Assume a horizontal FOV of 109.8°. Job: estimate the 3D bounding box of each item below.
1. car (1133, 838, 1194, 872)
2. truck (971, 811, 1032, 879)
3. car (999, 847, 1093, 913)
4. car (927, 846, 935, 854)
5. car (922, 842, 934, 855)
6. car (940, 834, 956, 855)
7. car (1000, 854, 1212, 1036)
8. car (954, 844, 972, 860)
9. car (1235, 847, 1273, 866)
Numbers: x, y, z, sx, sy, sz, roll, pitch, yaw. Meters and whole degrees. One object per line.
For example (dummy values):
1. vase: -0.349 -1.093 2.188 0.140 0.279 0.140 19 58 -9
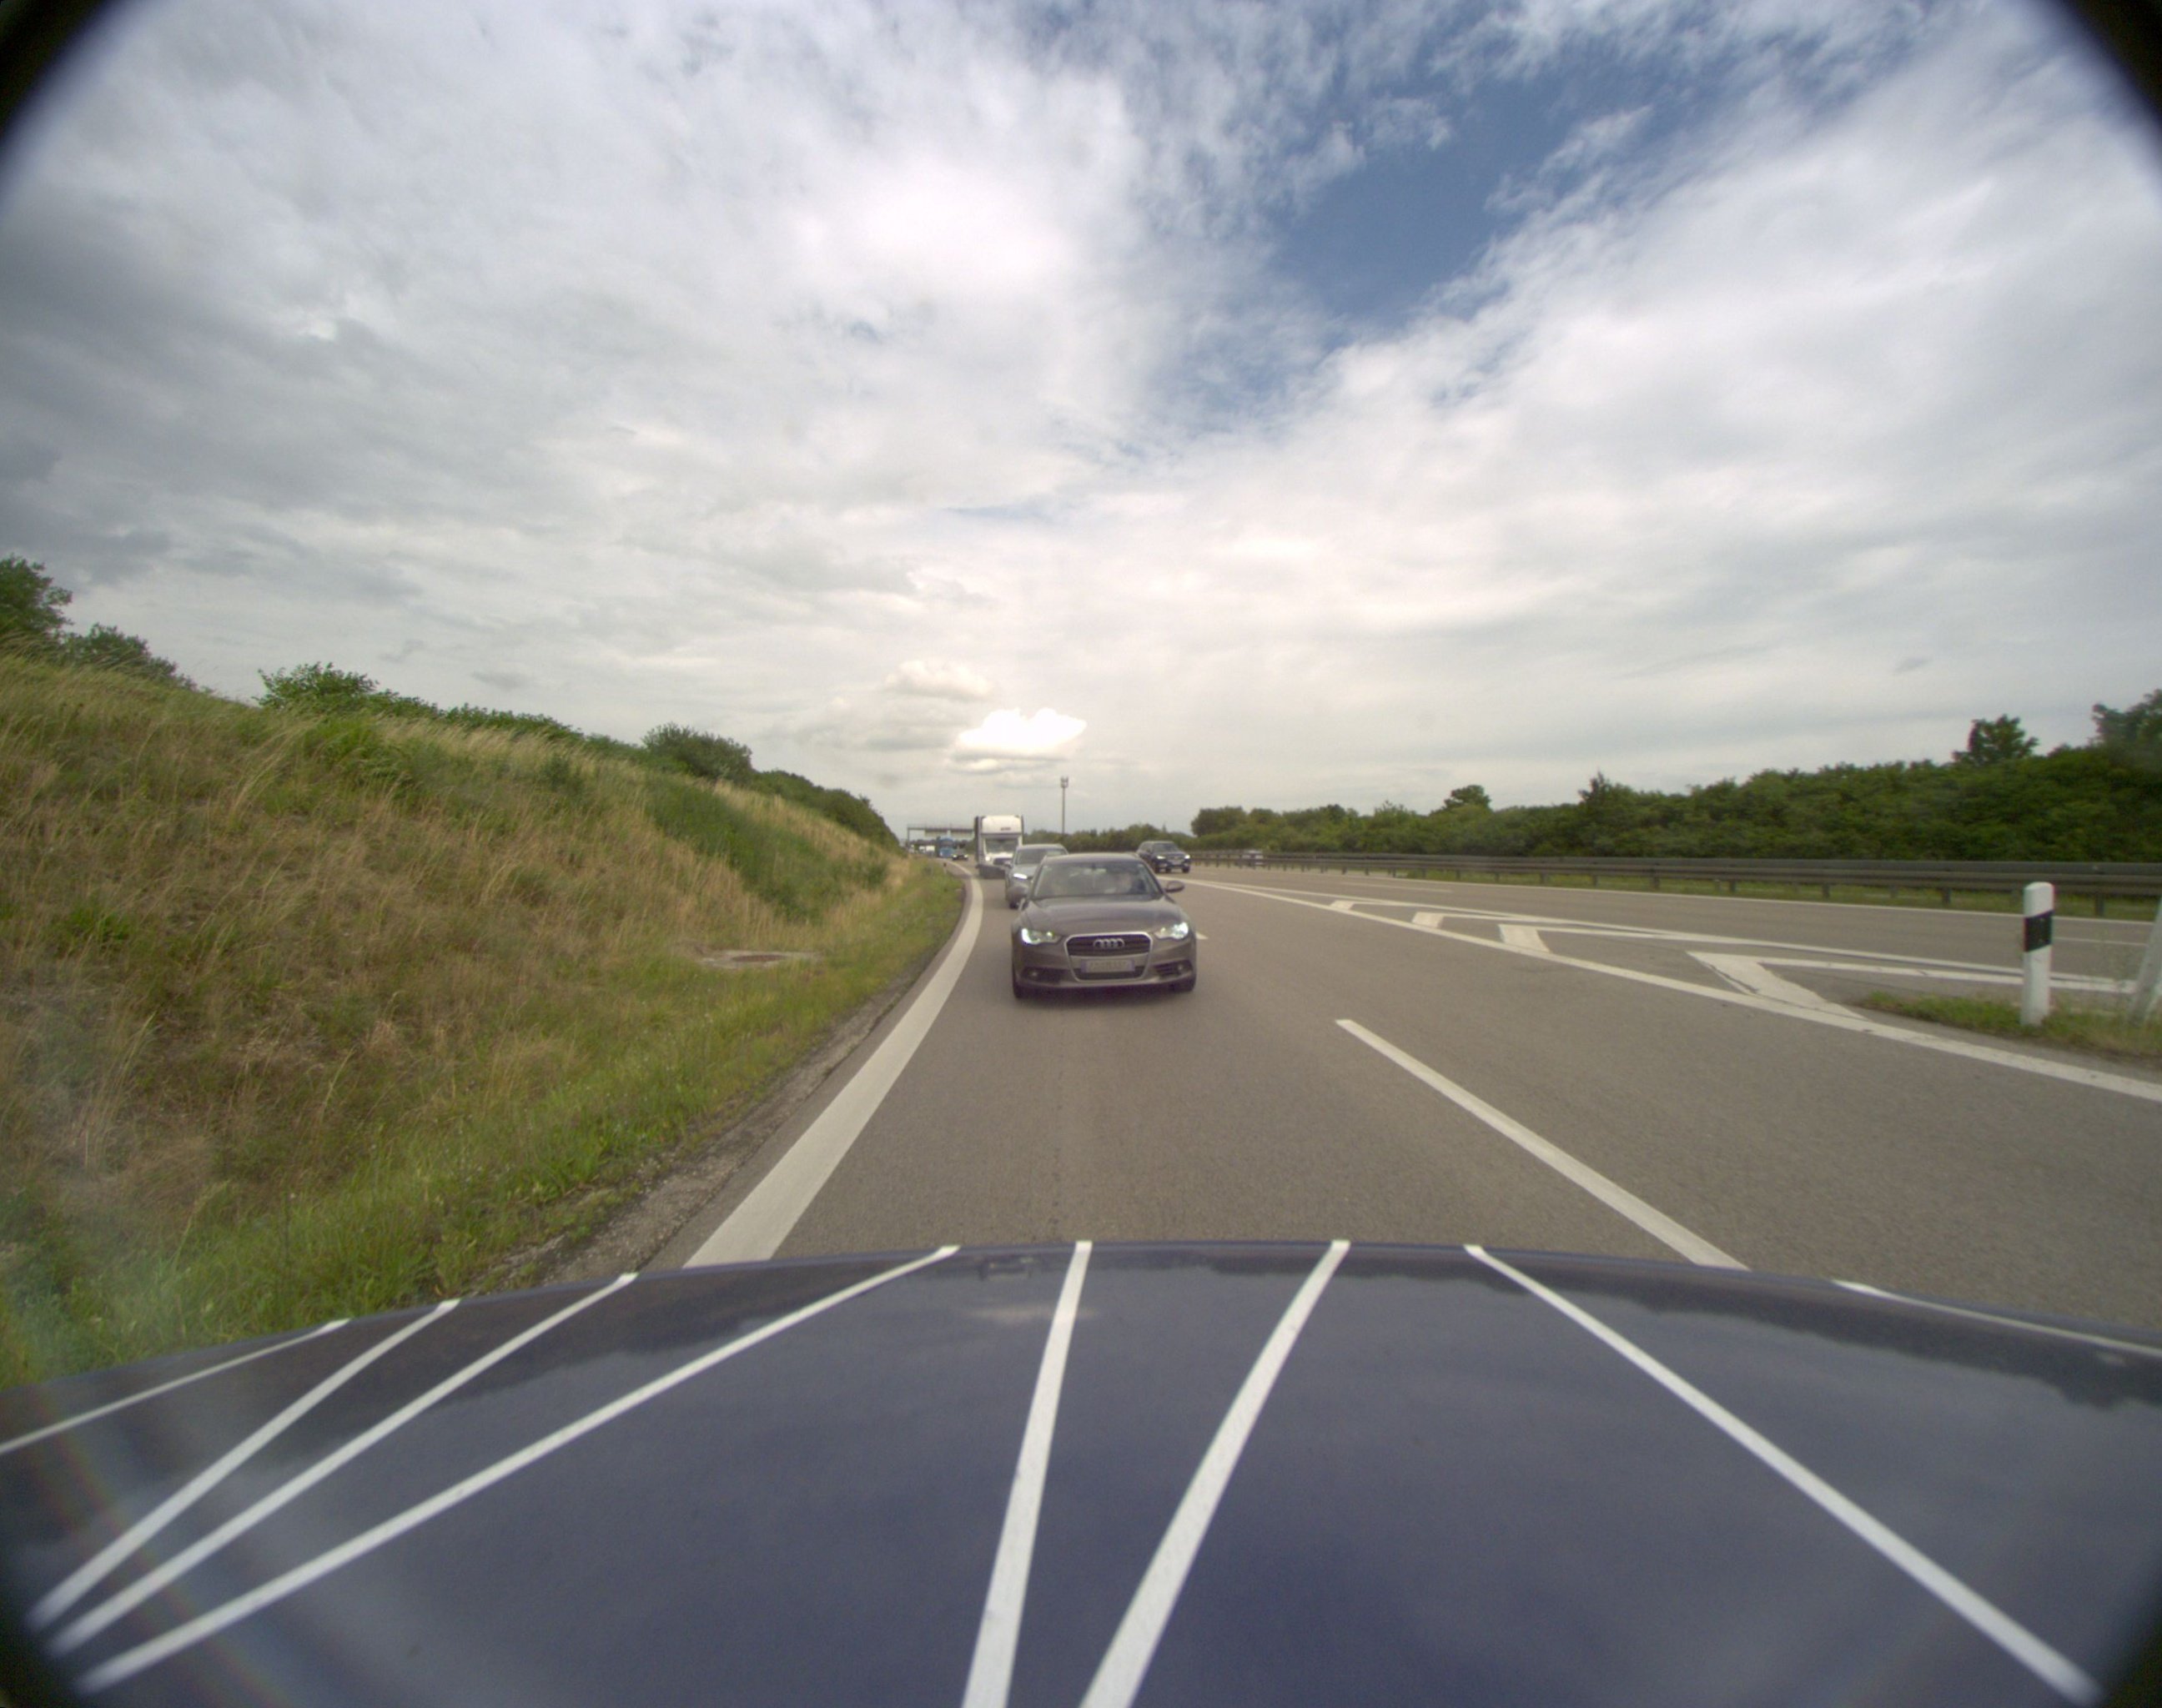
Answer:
1. car: 4.502 0.014 42.454 2.000 1.751 4.918 -1 1 -11
2. truck: -4.289 -0.465 39.826 2.451 3.217 7.183 -1 1 -12
3. car: -1.058 0.606 20.610 2.000 1.567 3.995 -1 1 -11
4. car: -38.196 -1.003 193.300 1.932 2.020 3.995 -1 1 -12
5. car: -40.485 -1.517 201.333 2.949 3.447 6.562 -1 1 -12
6. car: -24.648 -1.793 140.238 2.507 3.689 7.692 -1 1 -12
7. car: 0.144 0.803 8.744 1.849 1.489 4.027 -2 1 -2
8. car: -15.121 -0.226 97.397 2.001 2.002 3.995 -1 1 -12
9. car: 15.714 0.191 69.191 1.810 1.587 3.995 -1 1 -13
